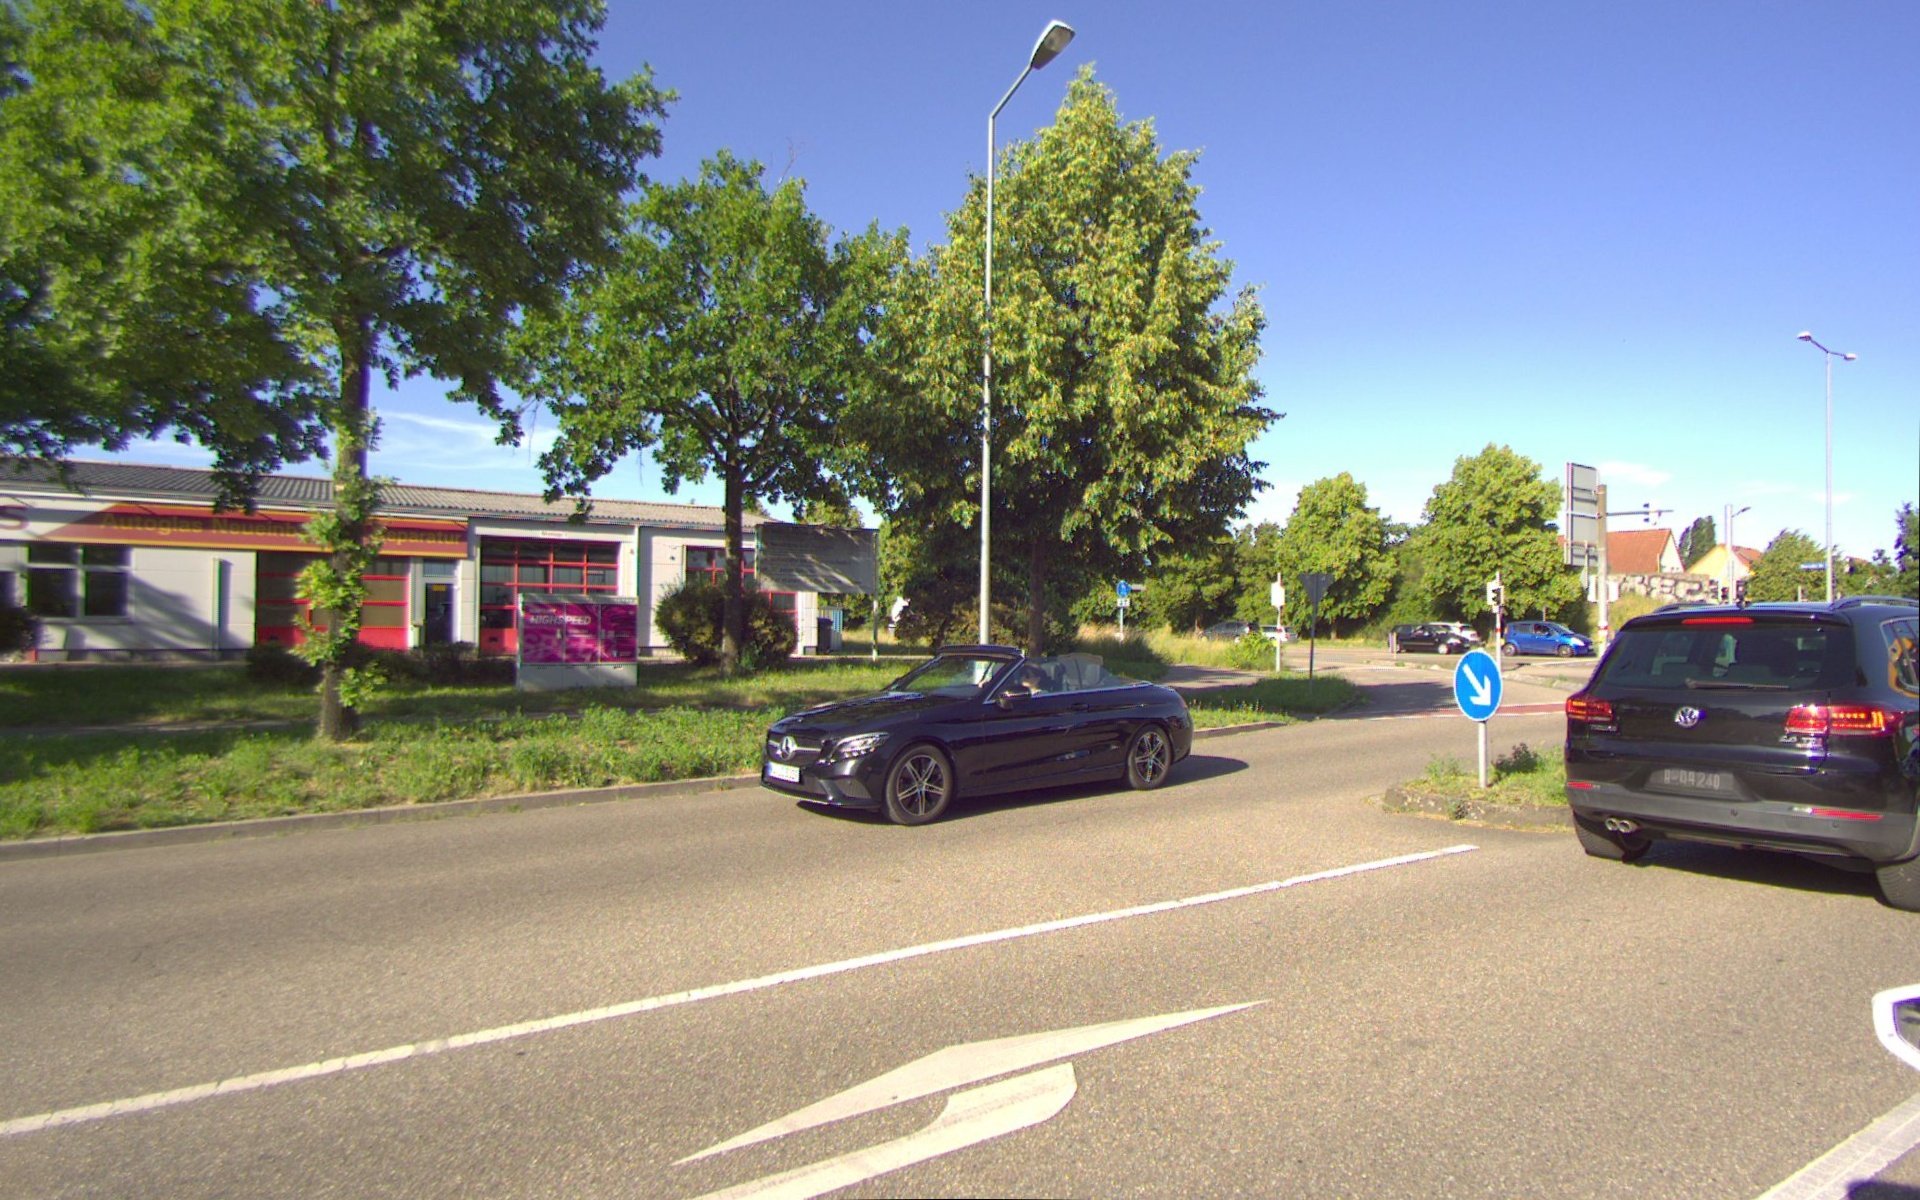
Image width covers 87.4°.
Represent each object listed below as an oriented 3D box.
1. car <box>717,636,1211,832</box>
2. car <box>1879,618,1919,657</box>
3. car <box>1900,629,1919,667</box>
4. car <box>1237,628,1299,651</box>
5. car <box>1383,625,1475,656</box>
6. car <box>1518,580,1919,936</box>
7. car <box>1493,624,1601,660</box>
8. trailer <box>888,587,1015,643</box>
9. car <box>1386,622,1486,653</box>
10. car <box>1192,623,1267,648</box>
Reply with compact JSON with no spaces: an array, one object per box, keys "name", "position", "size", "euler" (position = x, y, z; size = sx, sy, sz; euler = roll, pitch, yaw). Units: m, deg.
[{"name":"car","position":[0.201,1.098,9.637],"size":[4.550,1.421,1.978],"euler":[1,-4,-40]},{"name":"car","position":[38.211,1.491,38.411],"size":[1.562,1.479,4.376],"euler":[2,-1,-40]},{"name":"car","position":[42.659,2.064,42.511],"size":[1.678,1.633,3.961],"euler":[1,-1,-35]},{"name":"car","position":[20.809,2.653,68.044],"size":[1.666,1.358,3.822],"euler":[2,-1,-34]},{"name":"car","position":[22.902,1.950,49.116],"size":[1.494,1.330,3.817],"euler":[2,-1,-38]},{"name":"car","position":[5.702,0.847,6.602],"size":[3.956,1.695,1.812],"euler":[2,-3,-31]},{"name":"car","position":[26.218,1.852,44.955],"size":[1.668,1.403,3.817],"euler":[2,-1,-38]},{"name":"trailer","position":[-0.844,1.100,71.864],"size":[2.376,3.745,11.377],"euler":[1,-1,-41]},{"name":"car","position":[26.096,2.026,55.251],"size":[1.979,1.560,4.675],"euler":[1,-1,-33]},{"name":"car","position":[17.895,2.336,66.840],"size":[1.980,1.560,4.671],"euler":[1,-1,-35]}]
